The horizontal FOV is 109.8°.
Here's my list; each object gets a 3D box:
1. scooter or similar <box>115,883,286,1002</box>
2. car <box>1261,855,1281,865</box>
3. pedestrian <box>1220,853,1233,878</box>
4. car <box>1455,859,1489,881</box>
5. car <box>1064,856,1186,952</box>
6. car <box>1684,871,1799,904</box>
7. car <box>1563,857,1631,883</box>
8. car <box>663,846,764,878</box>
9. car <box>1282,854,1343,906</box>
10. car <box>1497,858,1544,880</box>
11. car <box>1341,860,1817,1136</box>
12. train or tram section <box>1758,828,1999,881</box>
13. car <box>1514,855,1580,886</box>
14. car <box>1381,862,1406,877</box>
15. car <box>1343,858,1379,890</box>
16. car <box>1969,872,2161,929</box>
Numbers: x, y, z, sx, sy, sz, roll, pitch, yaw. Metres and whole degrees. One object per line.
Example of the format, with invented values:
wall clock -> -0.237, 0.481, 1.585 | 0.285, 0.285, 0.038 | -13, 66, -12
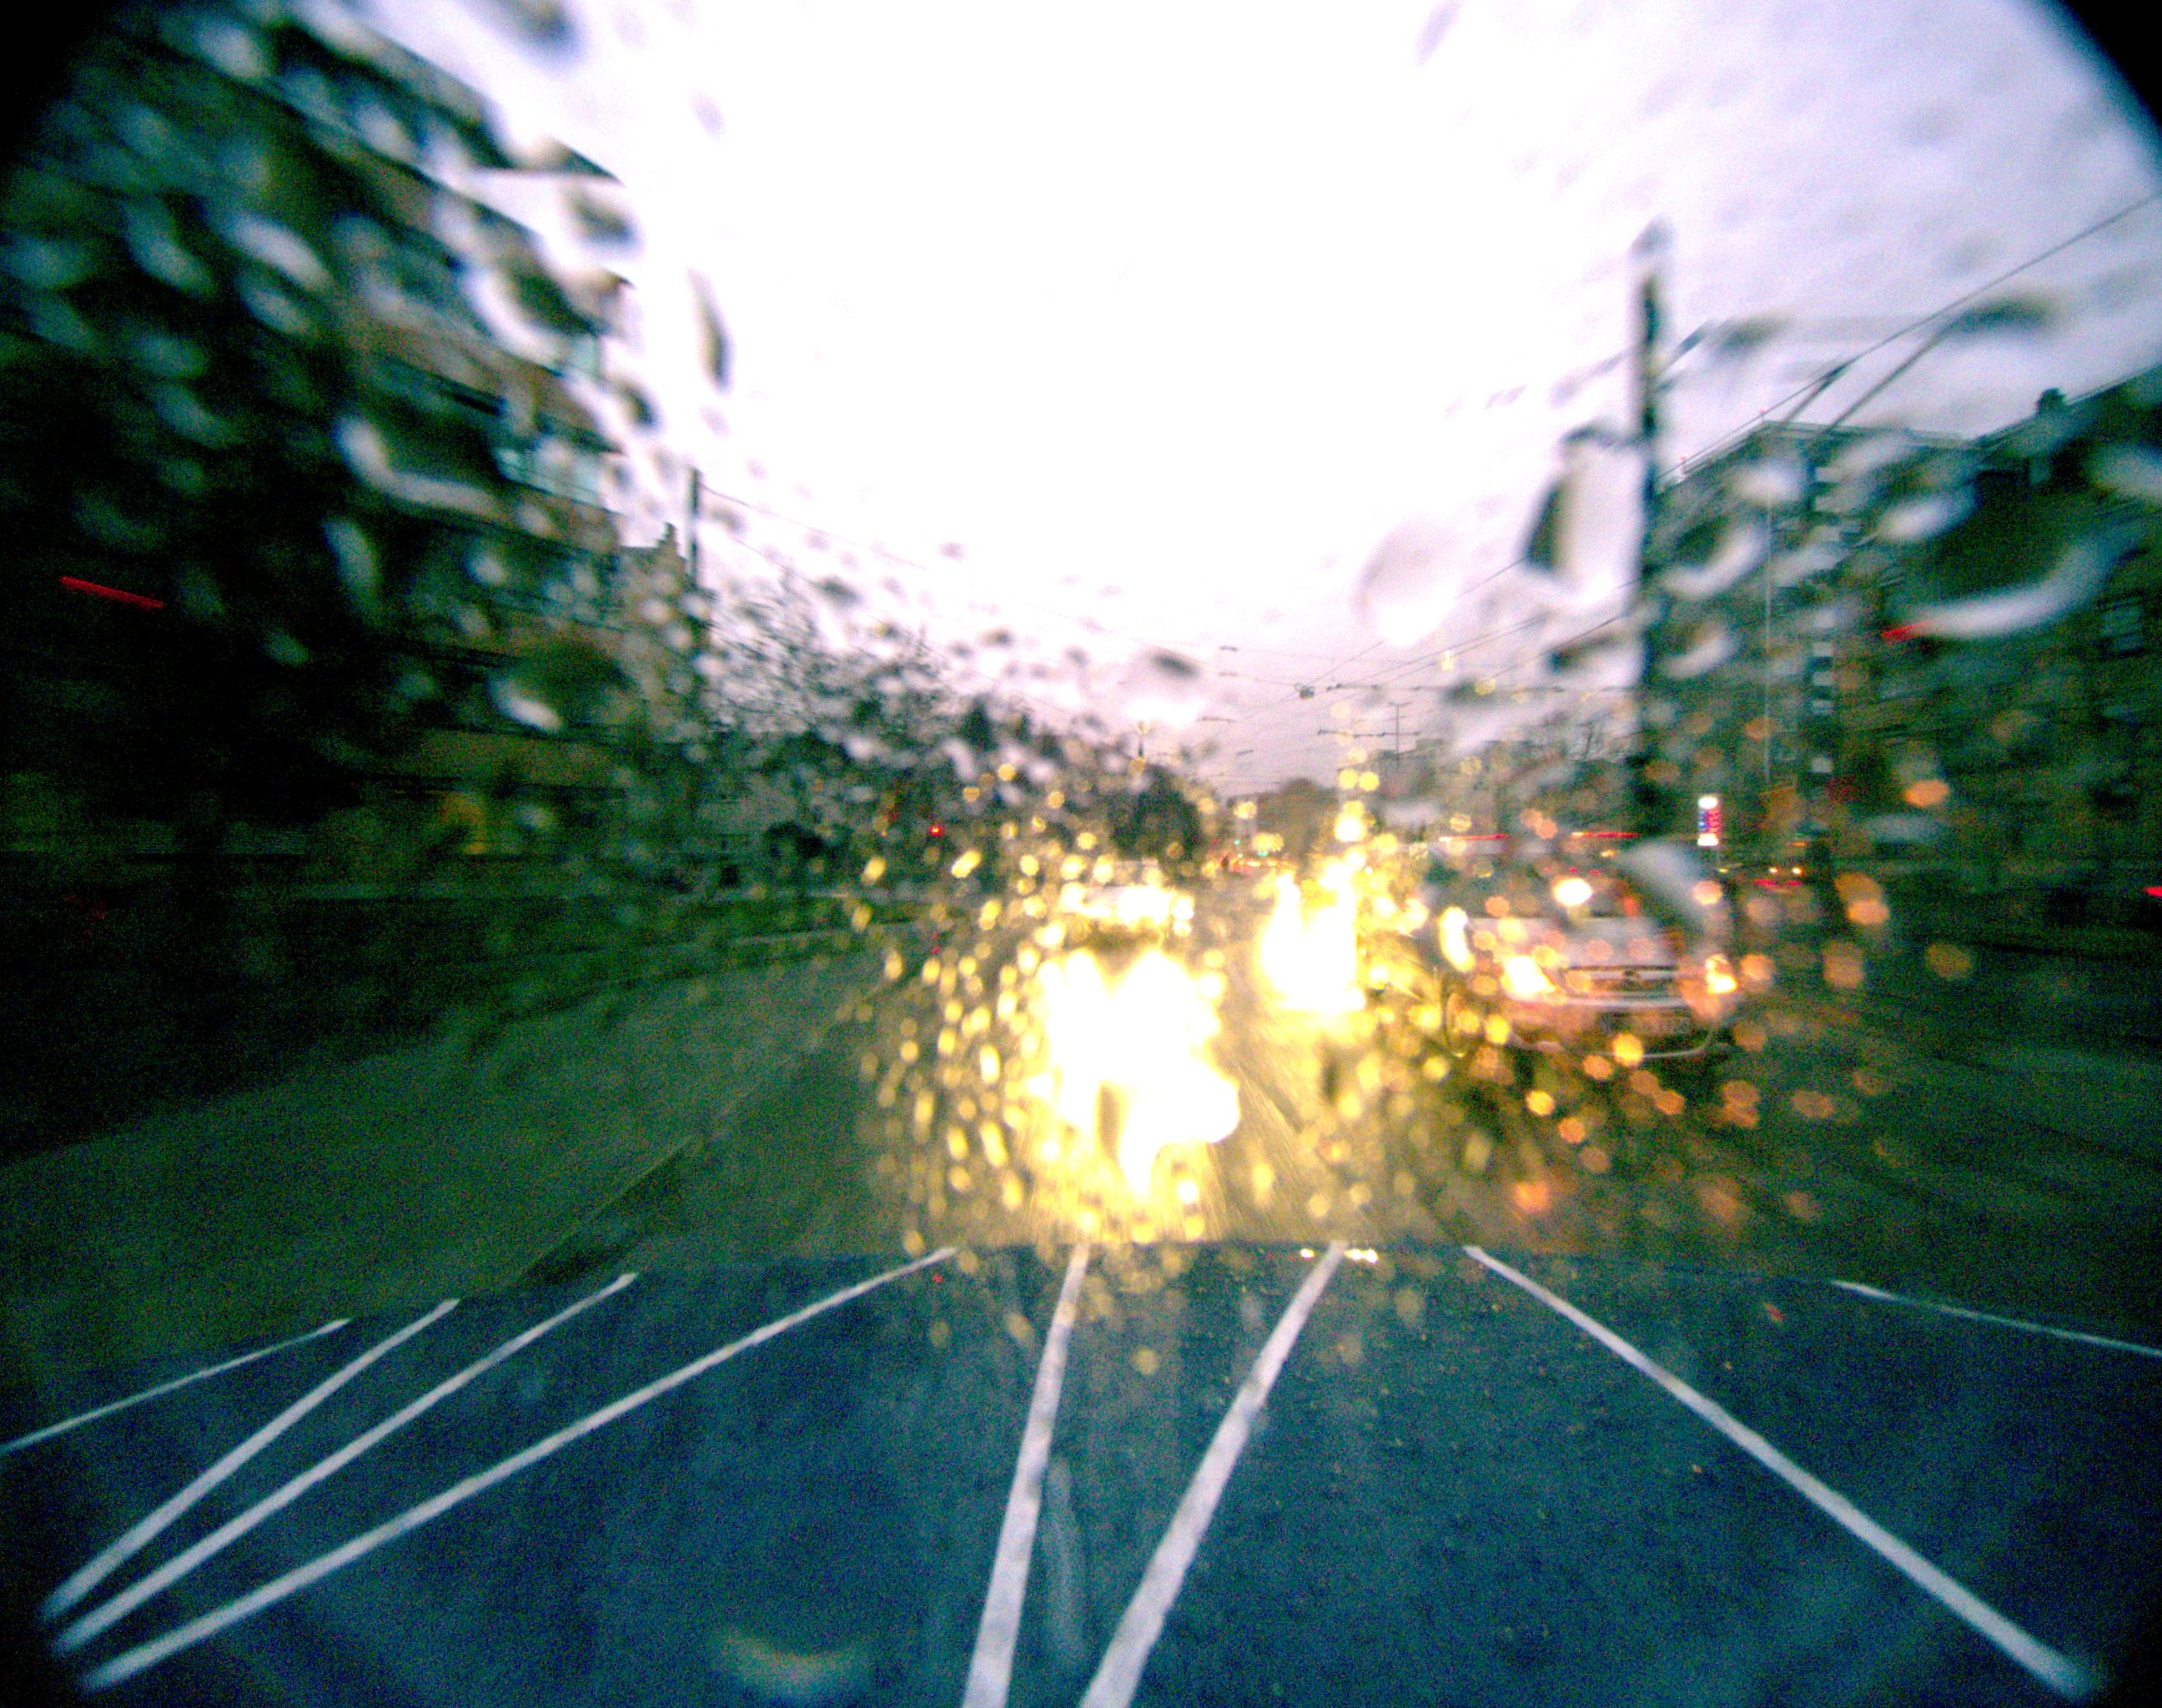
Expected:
scooter or similar -> -9.694, 0.945, 8.407 | 1.146, 1.224, 0.487 | 0, 0, -19
car -> 32.860, 1.062, 131.418 | 1.968, 1.772, 4.532 | 1, -1, -4
pedestrian -> 10.921, 0.838, 57.072 | 0.572, 1.828, 0.684 | 7, 1, 24
car -> 27.755, 1.101, 54.009 | 1.489, 1.478, 3.156 | 0, 0, 14
car -> 0.986, 0.857, 14.873 | 1.647, 1.575, 3.809 | 0, 0, 15
car -> 25.866, 1.278, 29.937 | 1.603, 1.127, 3.792 | 0, 0, 8
car -> 28.277, 0.842, 41.780 | 1.682, 1.346, 4.392 | 0, 0, 14
car -> -19.989, 0.437, 41.487 | 4.512, 1.660, 1.999 | 1, 0, -6
car -> 7.584, 0.800, 24.934 | 1.750, 1.535, 4.006 | 1, 0, 17
car -> 29.687, 0.978, 51.464 | 1.682, 1.384, 3.617 | 0, 0, 12
car -> 3.540, 0.832, 6.415 | 1.649, 1.539, 4.111 | 0, 0, 6
train or tram section -> 53.722, -0.041, 51.159 | 16.314, 3.170, 3.166 | -1, 0, -12
car -> 24.555, 0.839, 40.208 | 1.683, 1.544, 4.125 | 0, 0, 11
car -> 33.039, 1.631, 80.415 | 1.683, 1.449, 4.066 | 0, 0, 11
car -> 16.511, 1.134, 44.677 | 1.816, 1.732, 4.193 | 1, 0, 23
car -> 25.093, 1.102, 18.762 | 1.540, 1.219, 4.087 | 1, 0, 0
